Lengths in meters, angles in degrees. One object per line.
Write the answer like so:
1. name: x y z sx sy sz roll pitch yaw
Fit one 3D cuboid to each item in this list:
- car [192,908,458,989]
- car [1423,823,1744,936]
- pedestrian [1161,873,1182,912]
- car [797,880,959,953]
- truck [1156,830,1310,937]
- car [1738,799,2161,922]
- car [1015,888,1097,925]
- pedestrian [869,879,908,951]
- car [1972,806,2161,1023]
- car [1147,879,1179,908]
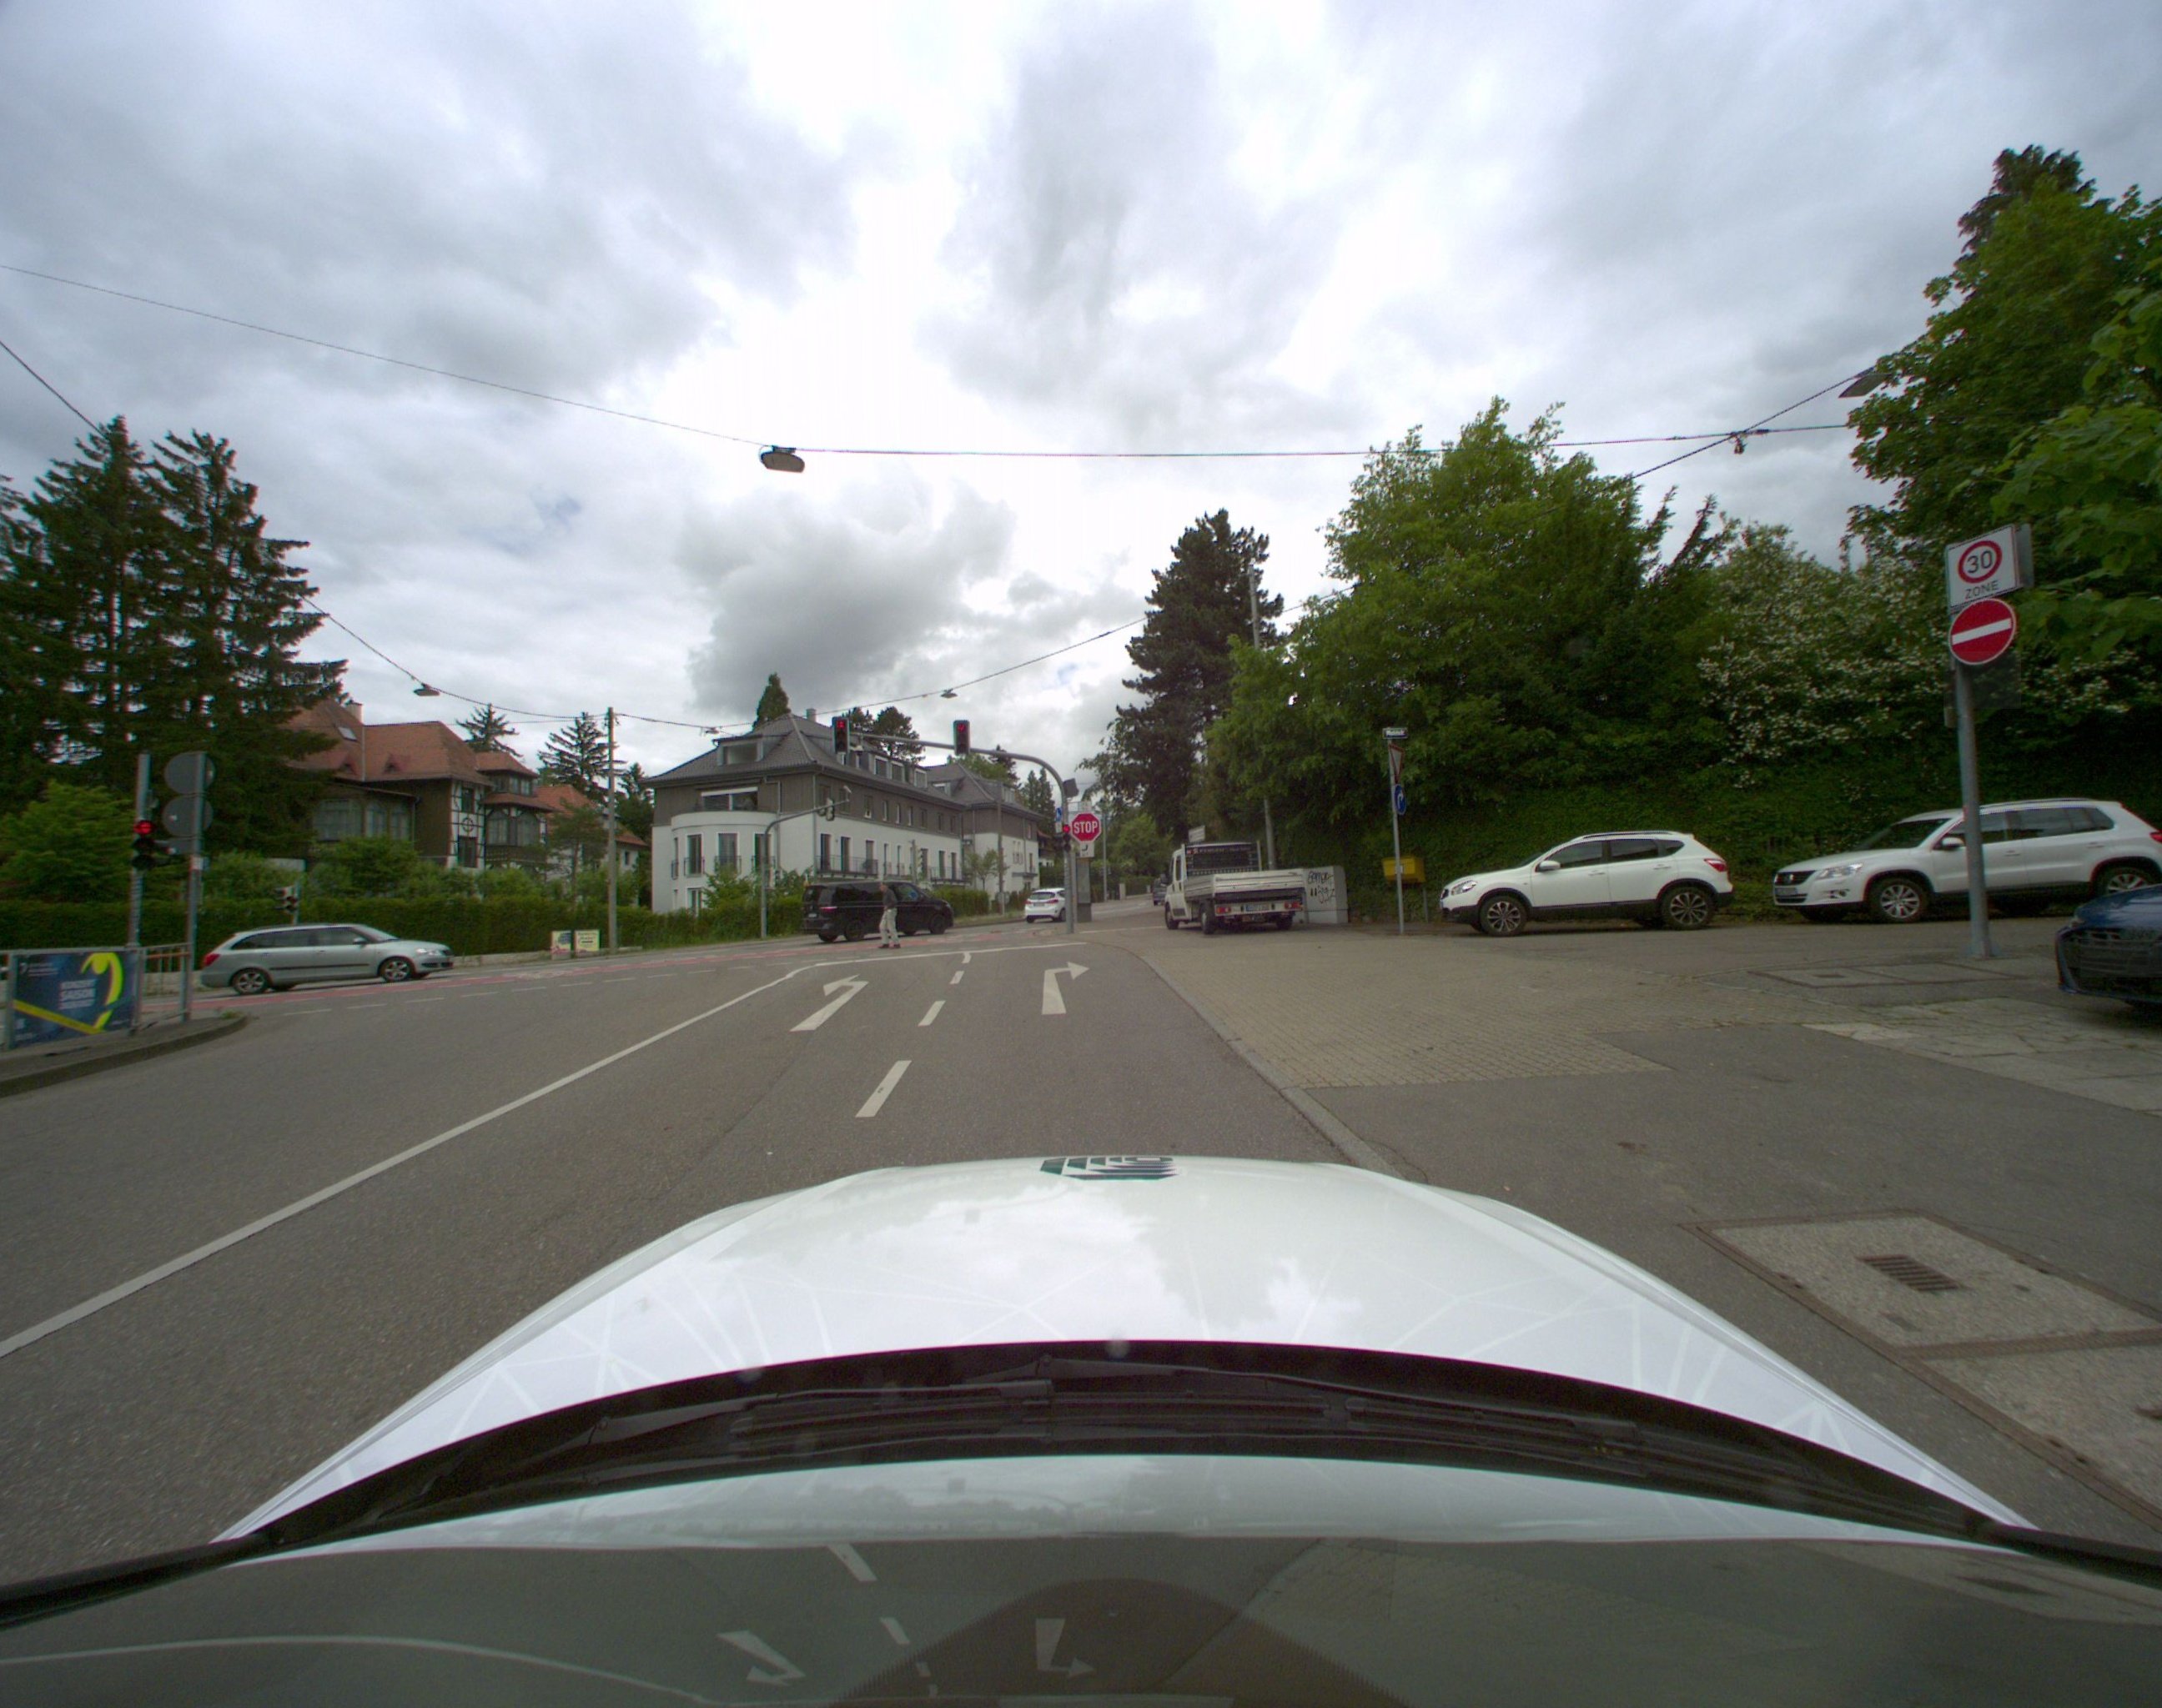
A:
1. car: -17.312 2.120 18.951 4.205 1.476 1.697 0 -1 -28
2. car: 8.245 0.494 13.875 4.206 1.594 1.996 -4 -4 17
3. pedestrian: 4.809 2.036 43.272 0.830 2.014 0.592 -4 -2 25
4. car: -6.540 1.930 26.601 4.808 2.014 1.975 0 -1 -45
5. truck: 3.555 0.806 20.468 2.181 2.195 5.868 -2 -3 -6
6. car: 12.943 0.134 12.398 4.033 1.467 2.006 -4 -2 11
7. car: -1.019 2.290 35.924 1.913 1.383 4.023 -5 -4 25
8. pedestrian: -4.712 1.484 19.930 0.702 1.682 0.679 -2 -1 -31
9. car: 8.822 0.232 4.889 4.470 1.327 1.841 -4 -2 9
10. car: 6.115 2.903 61.261 1.986 2.014 4.511 -3 -2 2
